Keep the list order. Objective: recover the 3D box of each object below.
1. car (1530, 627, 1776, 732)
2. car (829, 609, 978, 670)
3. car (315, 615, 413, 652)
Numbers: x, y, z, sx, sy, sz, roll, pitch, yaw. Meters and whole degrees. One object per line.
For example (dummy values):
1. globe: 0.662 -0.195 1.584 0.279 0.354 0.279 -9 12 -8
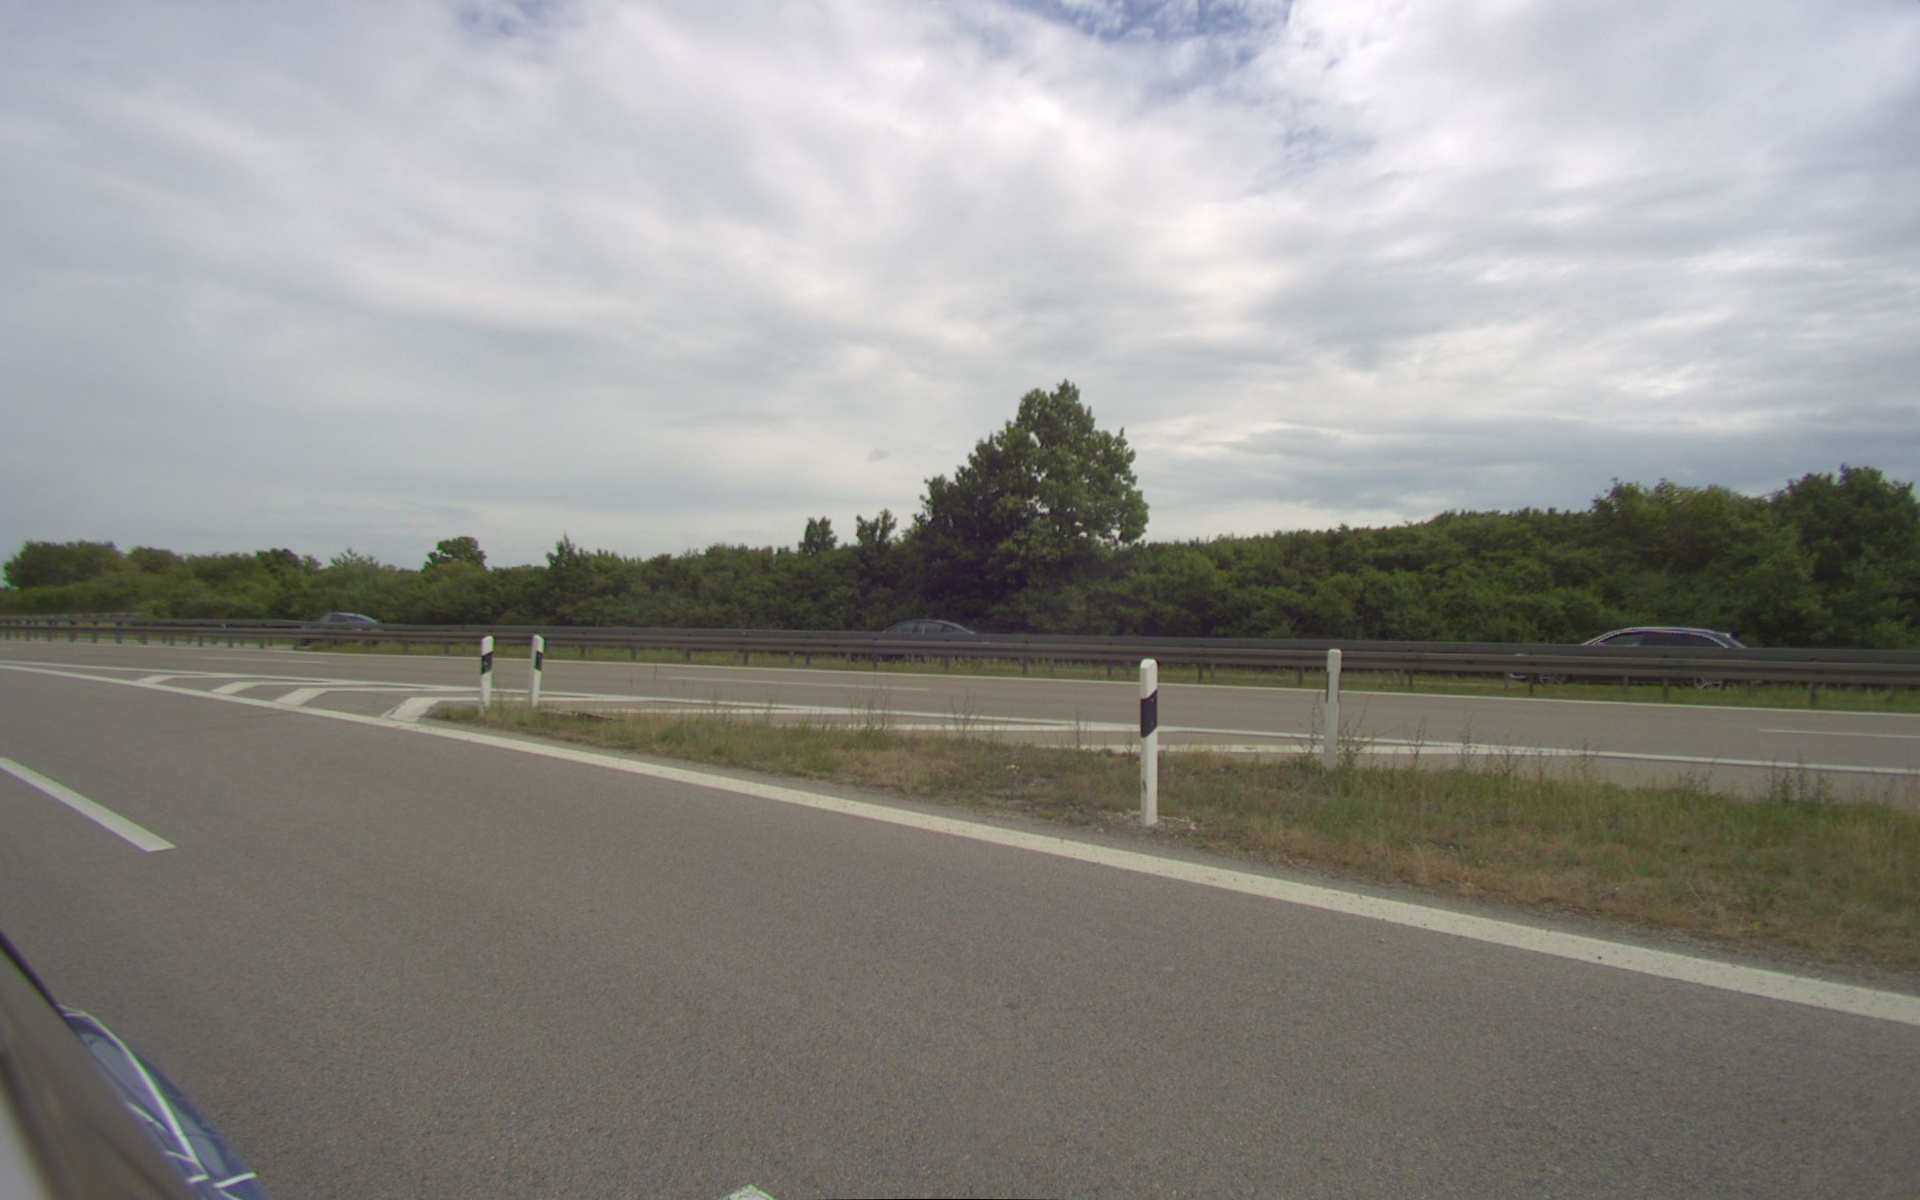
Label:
1. car: 14.892 1.636 22.080 4.198 2.029 1.913 0 -1 28
2. car: -1.679 1.123 30.142 3.978 1.697 1.982 0 -1 26
3. car: -28.799 1.597 48.864 4.542 1.674 1.981 0 -2 28
